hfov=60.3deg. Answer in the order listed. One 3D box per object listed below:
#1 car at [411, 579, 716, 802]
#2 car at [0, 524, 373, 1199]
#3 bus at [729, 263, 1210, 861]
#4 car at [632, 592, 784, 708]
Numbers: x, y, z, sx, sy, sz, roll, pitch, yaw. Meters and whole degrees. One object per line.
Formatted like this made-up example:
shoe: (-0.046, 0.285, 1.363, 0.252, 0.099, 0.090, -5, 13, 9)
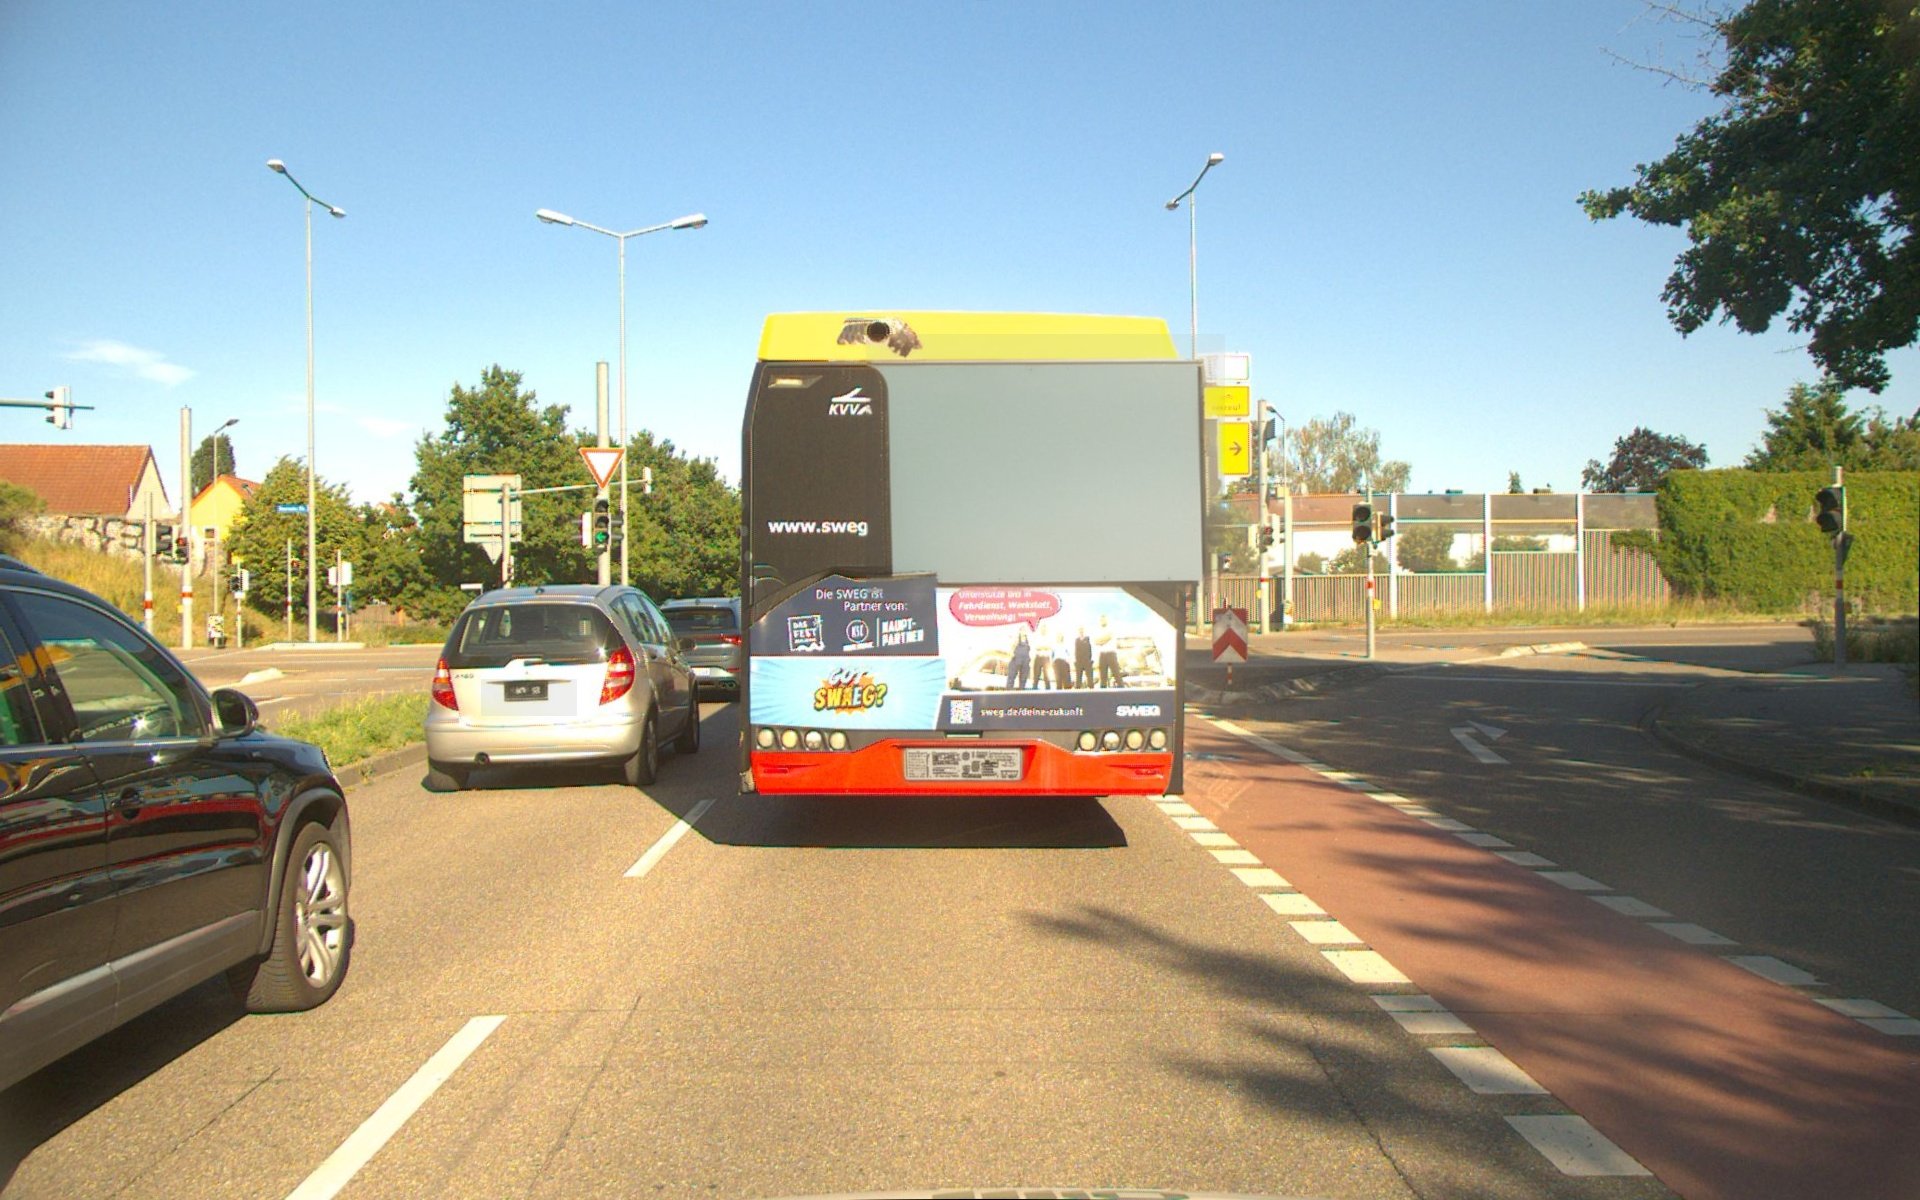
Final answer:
car: (-3.271, 0.672, 14.428, 1.725, 1.617, 3.999, -2, 0, -1)
car: (-3.171, 0.687, 4.572, 1.736, 1.682, 3.998, -2, 0, -2)
bus: (0.018, -0.255, 14.912, 2.589, 3.222, 11.860, 0, 0, 0)
car: (-3.555, 0.657, 23.871, 1.658, 1.484, 3.750, -2, 0, -1)
